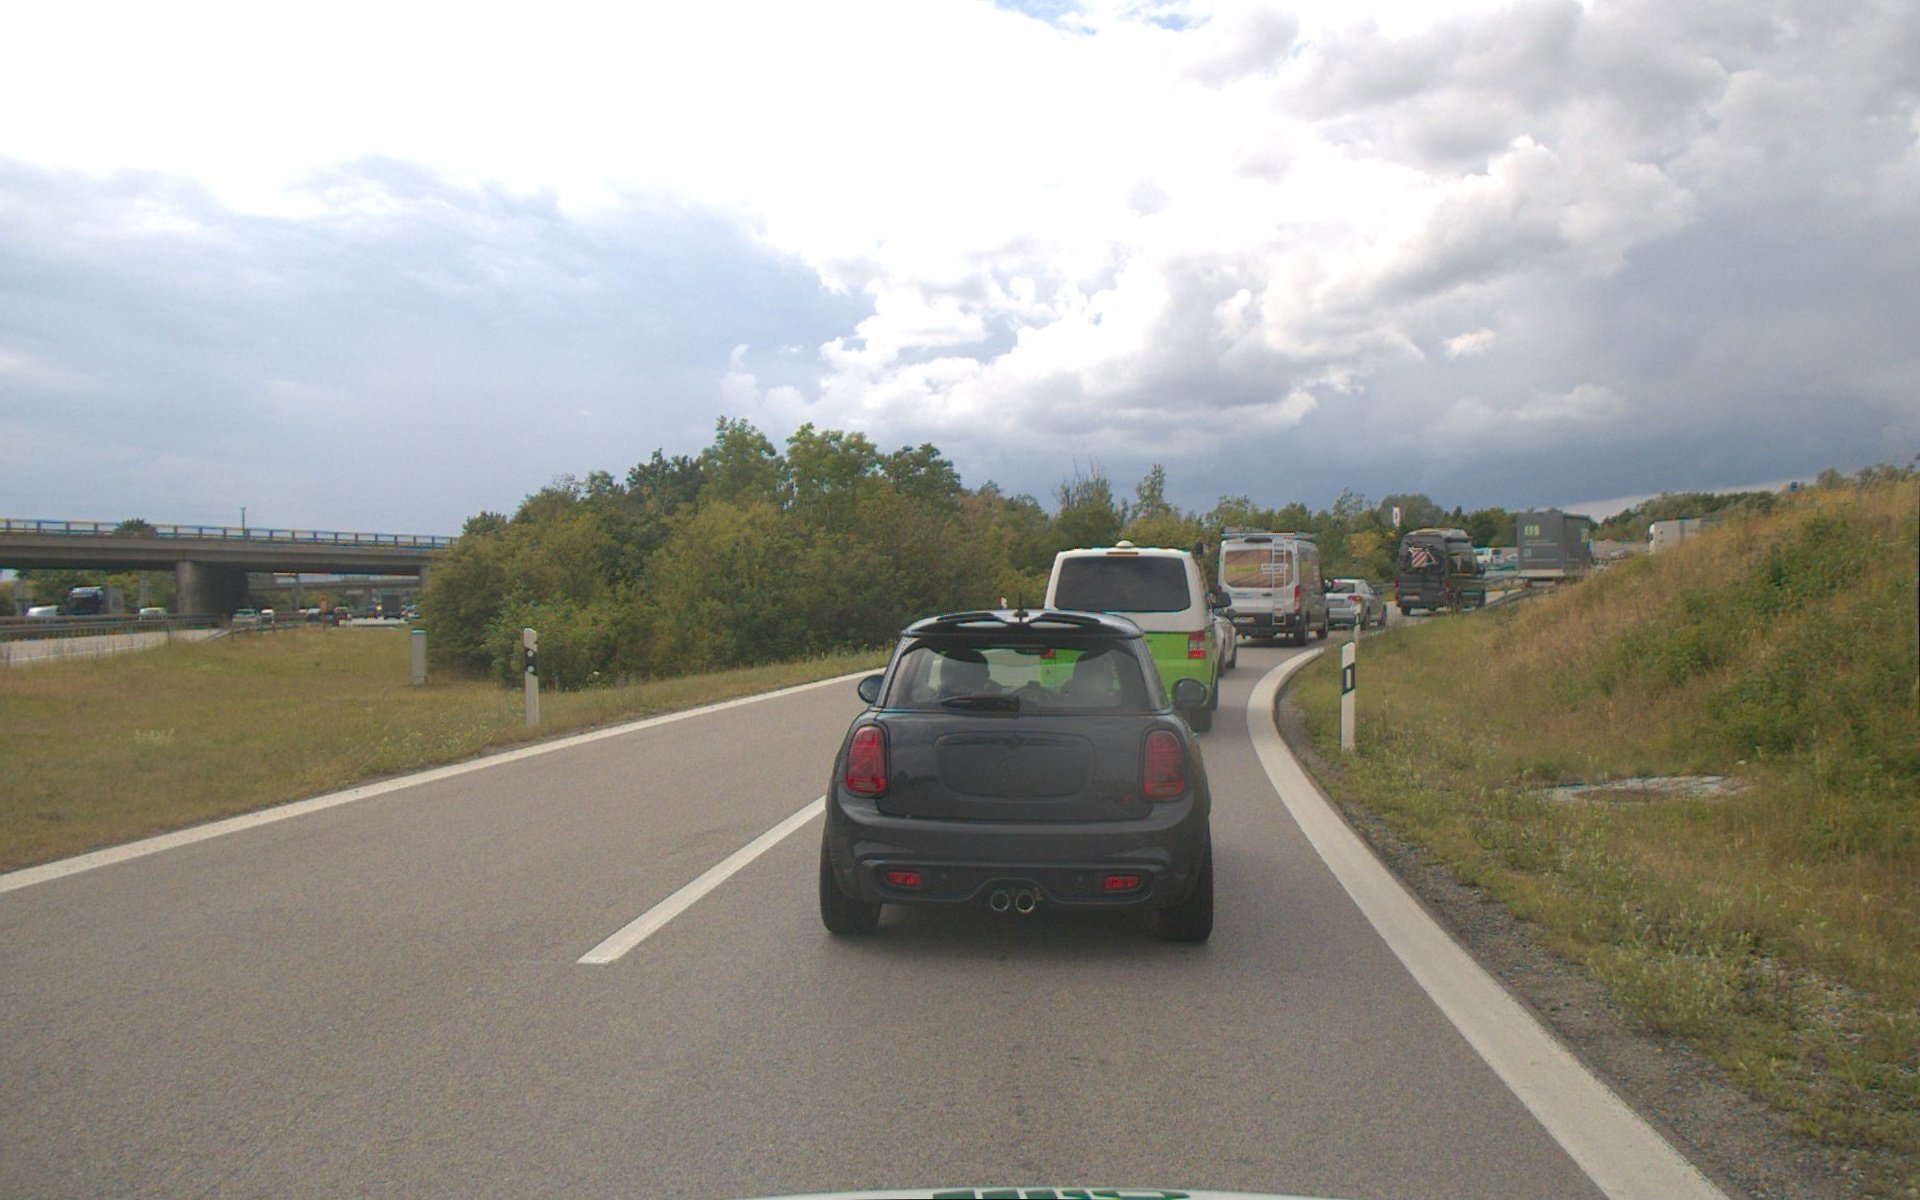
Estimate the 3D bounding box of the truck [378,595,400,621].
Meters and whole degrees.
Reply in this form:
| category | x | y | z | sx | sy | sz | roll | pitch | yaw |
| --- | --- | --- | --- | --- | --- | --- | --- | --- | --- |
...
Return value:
| category | x | y | z | sx | sy | sz | roll | pitch | yaw |
| --- | --- | --- | --- | --- | --- | --- | --- | --- | --- |
| truck | -80.038 | 1.157 | 231.949 | 2.428 | 3.430 | 7.887 | -1 | -1 | -16 |

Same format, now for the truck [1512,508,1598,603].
| category | x | y | z | sx | sy | sz | roll | pitch | yaw |
| --- | --- | --- | --- | --- | --- | --- | --- | --- | --- |
| truck | 27.114 | -1.934 | 75.241 | 2.190 | 3.975 | 5.994 | 0 | -2 | 35 |

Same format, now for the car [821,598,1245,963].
| category | x | y | z | sx | sy | sz | roll | pitch | yaw |
| --- | --- | --- | --- | --- | --- | --- | --- | --- | --- |
| car | 0.415 | 0.734 | 8.514 | 1.691 | 1.438 | 3.727 | 1 | 0 | 4 |

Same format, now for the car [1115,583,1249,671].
| category | x | y | z | sx | sy | sz | roll | pitch | yaw |
| --- | --- | --- | --- | --- | --- | --- | --- | --- | --- |
| car | 3.936 | 0.450 | 28.846 | 1.725 | 1.423 | 3.727 | 0 | 0 | 17 |

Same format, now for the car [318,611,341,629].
| category | x | y | z | sx | sy | sz | roll | pitch | yaw |
| --- | --- | --- | --- | --- | --- | --- | --- | --- | --- |
| car | -55.707 | 1.757 | 146.141 | 1.690 | 1.545 | 3.980 | -1 | 0 | -18 |

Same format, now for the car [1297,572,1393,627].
| category | x | y | z | sx | sy | sz | roll | pitch | yaw |
| --- | --- | --- | --- | --- | --- | --- | --- | --- | --- |
| car | 11.271 | 0.000 | 48.298 | 1.830 | 1.536 | 3.995 | 0 | 0 | 27 |

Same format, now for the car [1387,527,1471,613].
| category | x | y | z | sx | sy | sz | roll | pitch | yaw |
| --- | --- | --- | --- | --- | --- | --- | --- | --- | --- |
| car | 16.331 | -1.008 | 57.421 | 2.064 | 2.845 | 3.995 | 1 | 0 | 27 |

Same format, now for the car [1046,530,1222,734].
| category | x | y | z | sx | sy | sz | roll | pitch | yaw |
| --- | --- | --- | --- | --- | --- | --- | --- | --- | --- |
| car | 2.077 | 0.329 | 18.817 | 1.746 | 2.049 | 4.003 | 1 | 0 | 9 |

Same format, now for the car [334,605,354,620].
| category | x | y | z | sx | sy | sz | roll | pitch | yaw |
| --- | --- | --- | --- | --- | --- | --- | --- | --- | --- |
| car | -74.922 | 1.476 | 201.232 | 1.961 | 1.774 | 4.807 | -1 | 0 | -16 |

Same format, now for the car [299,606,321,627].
| category | x | y | z | sx | sy | sz | roll | pitch | yaw |
| --- | --- | --- | --- | --- | --- | --- | --- | --- | --- |
| car | -67.028 | 1.707 | 170.534 | 1.964 | 2.049 | 3.977 | 1 | -1 | -20 |

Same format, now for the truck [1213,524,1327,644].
| category | x | y | z | sx | sy | sz | roll | pitch | yaw |
| --- | --- | --- | --- | --- | --- | --- | --- | --- | --- |
| truck | 7.583 | -0.377 | 40.050 | 2.132 | 2.705 | 5.111 | 0 | 0 | 17 |

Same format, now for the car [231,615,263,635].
| category | x | y | z | sx | sy | sz | roll | pitch | yaw |
| --- | --- | --- | --- | --- | --- | --- | --- | --- | --- |
| car | -54.715 | 1.887 | 127.022 | 1.807 | 1.478 | 4.357 | 0 | 0 | -18 |
